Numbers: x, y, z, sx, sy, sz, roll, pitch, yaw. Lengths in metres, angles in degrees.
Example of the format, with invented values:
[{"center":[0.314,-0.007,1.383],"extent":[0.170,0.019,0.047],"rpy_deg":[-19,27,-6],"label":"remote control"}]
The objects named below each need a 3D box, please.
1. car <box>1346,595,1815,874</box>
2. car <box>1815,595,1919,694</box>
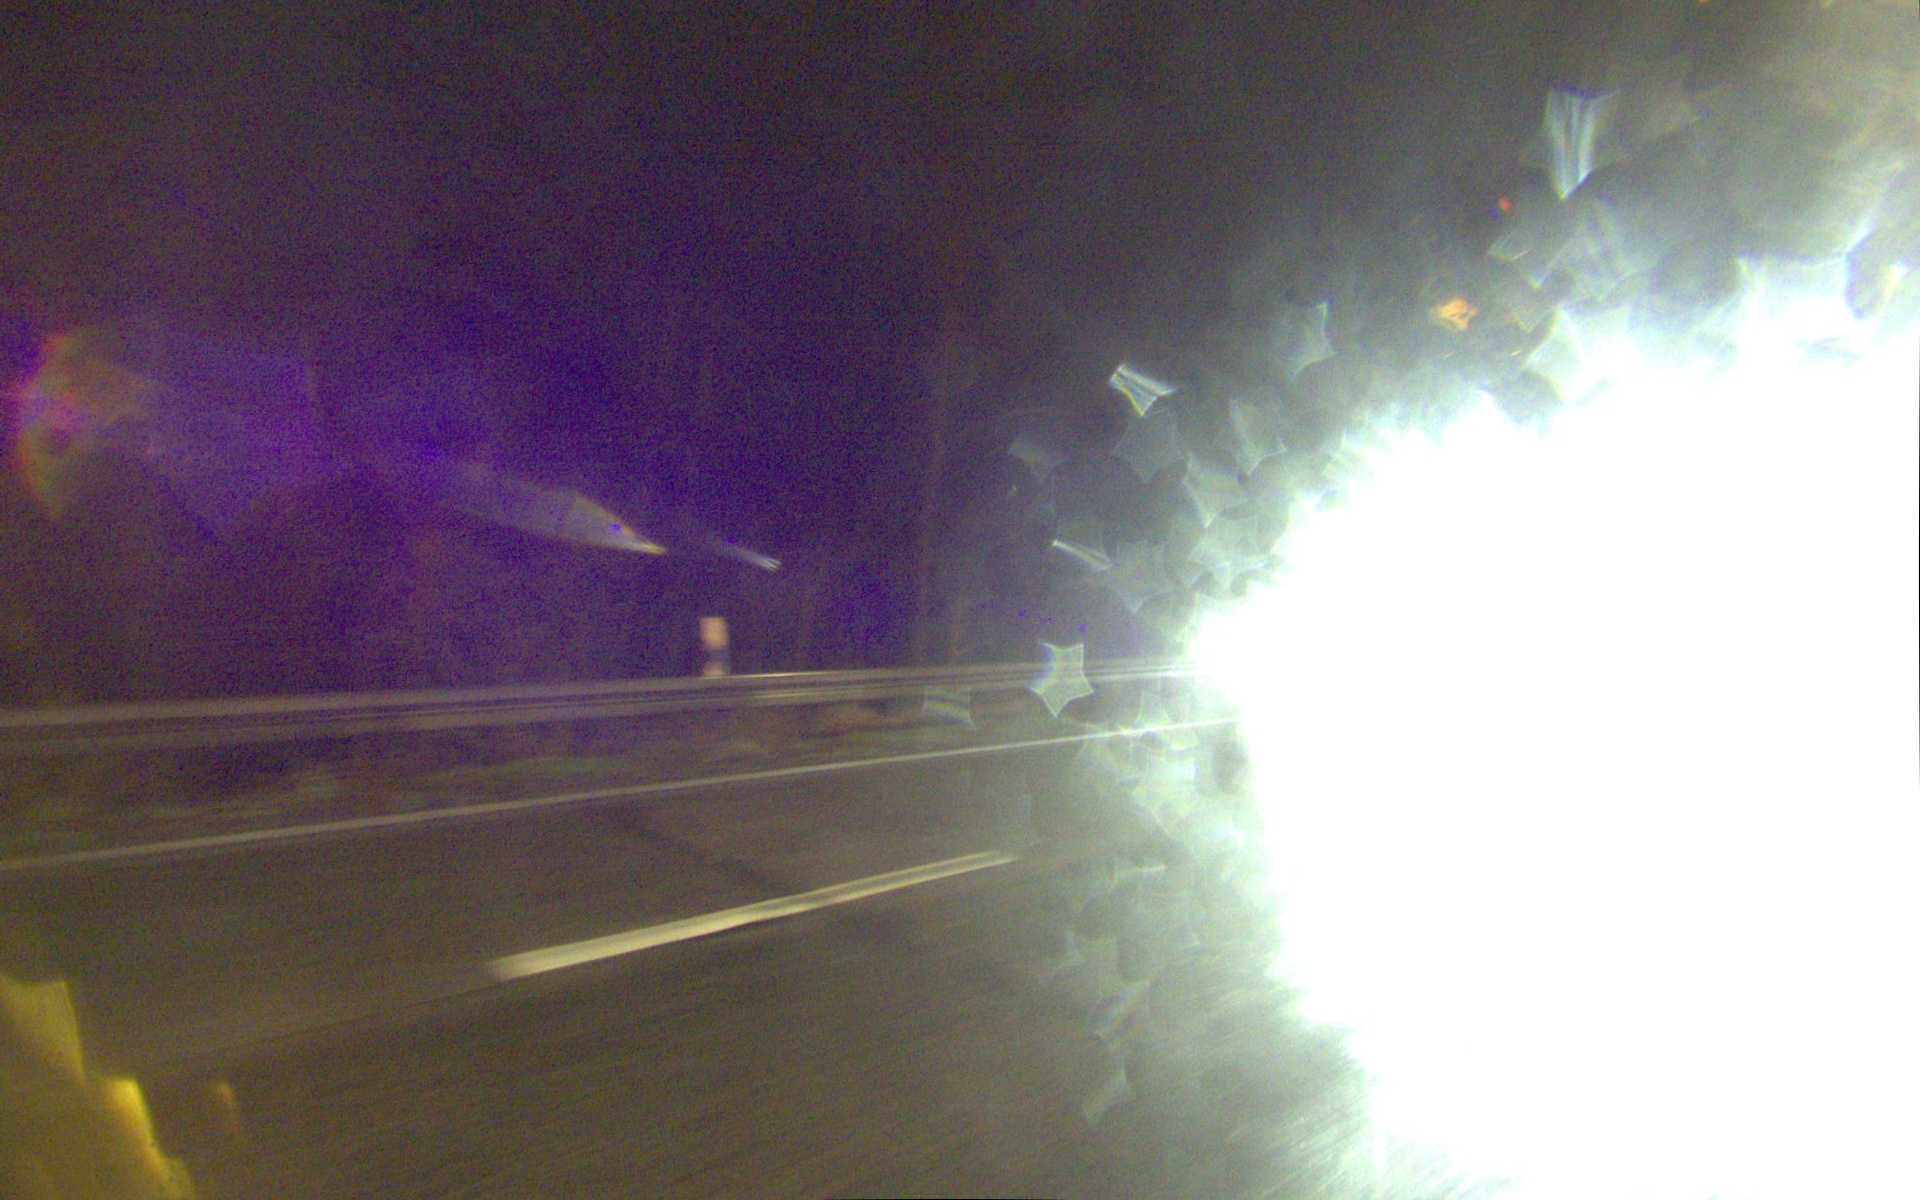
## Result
[{"center":[4.837,0.709,7.557],"extent":[4.643,1.467,1.734],"rpy_deg":[0,-1,-42],"label":"car"},{"center":[16.160,0.675,17.158],"extent":[4.487,1.503,1.825],"rpy_deg":[0,0,-40],"label":"car"}]
